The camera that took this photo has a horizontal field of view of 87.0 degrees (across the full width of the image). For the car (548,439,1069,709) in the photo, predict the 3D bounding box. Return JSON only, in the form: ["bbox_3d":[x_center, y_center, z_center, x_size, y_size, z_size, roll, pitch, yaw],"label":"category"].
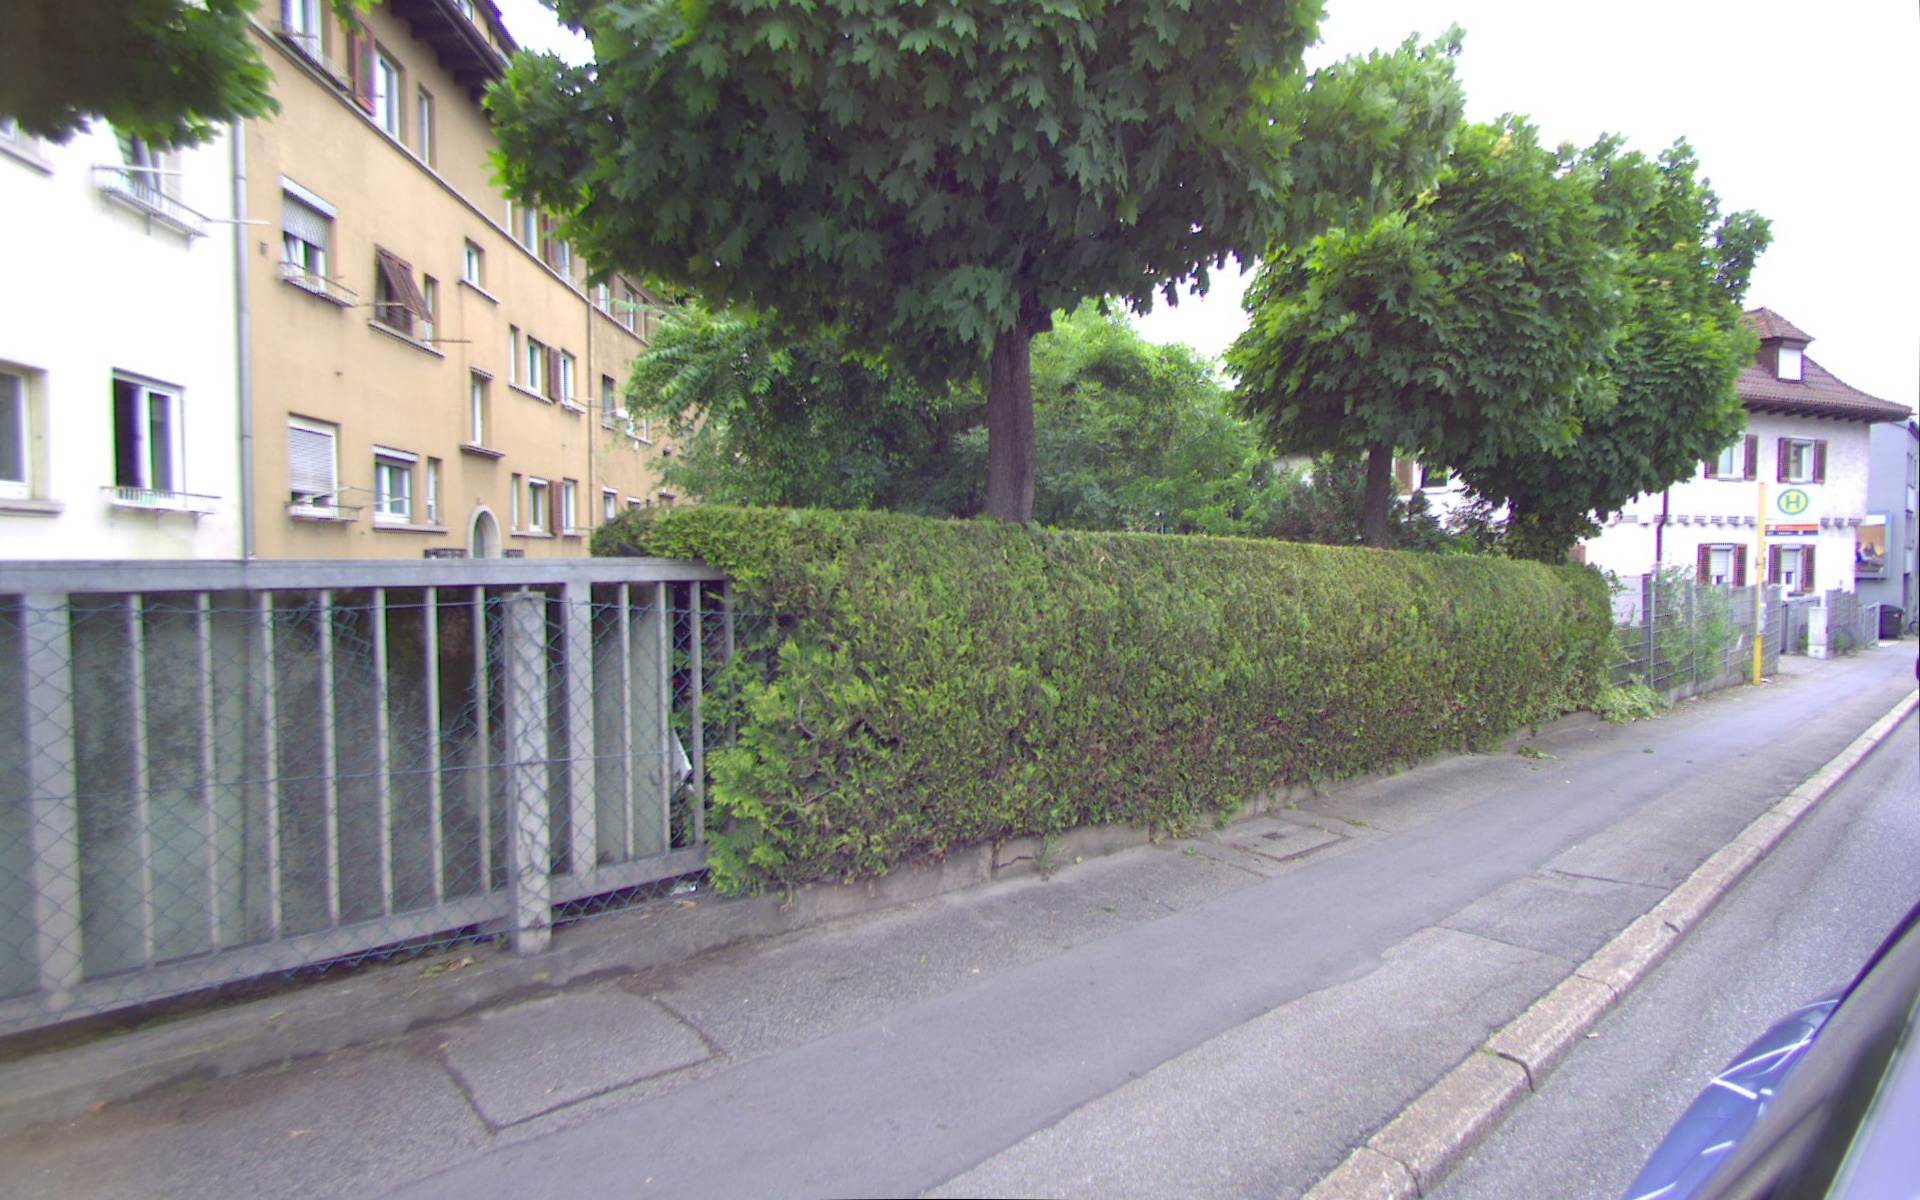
[{"bbox_3d":[-0.964,-0.163,7.325,3.381,1.478,1.698,-1,0,-43],"label":"car"}]

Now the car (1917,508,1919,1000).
[{"bbox_3d":[5.785,0.554,4.439,4.629,1.804,1.861,-1,0,-41],"label":"car"}]
